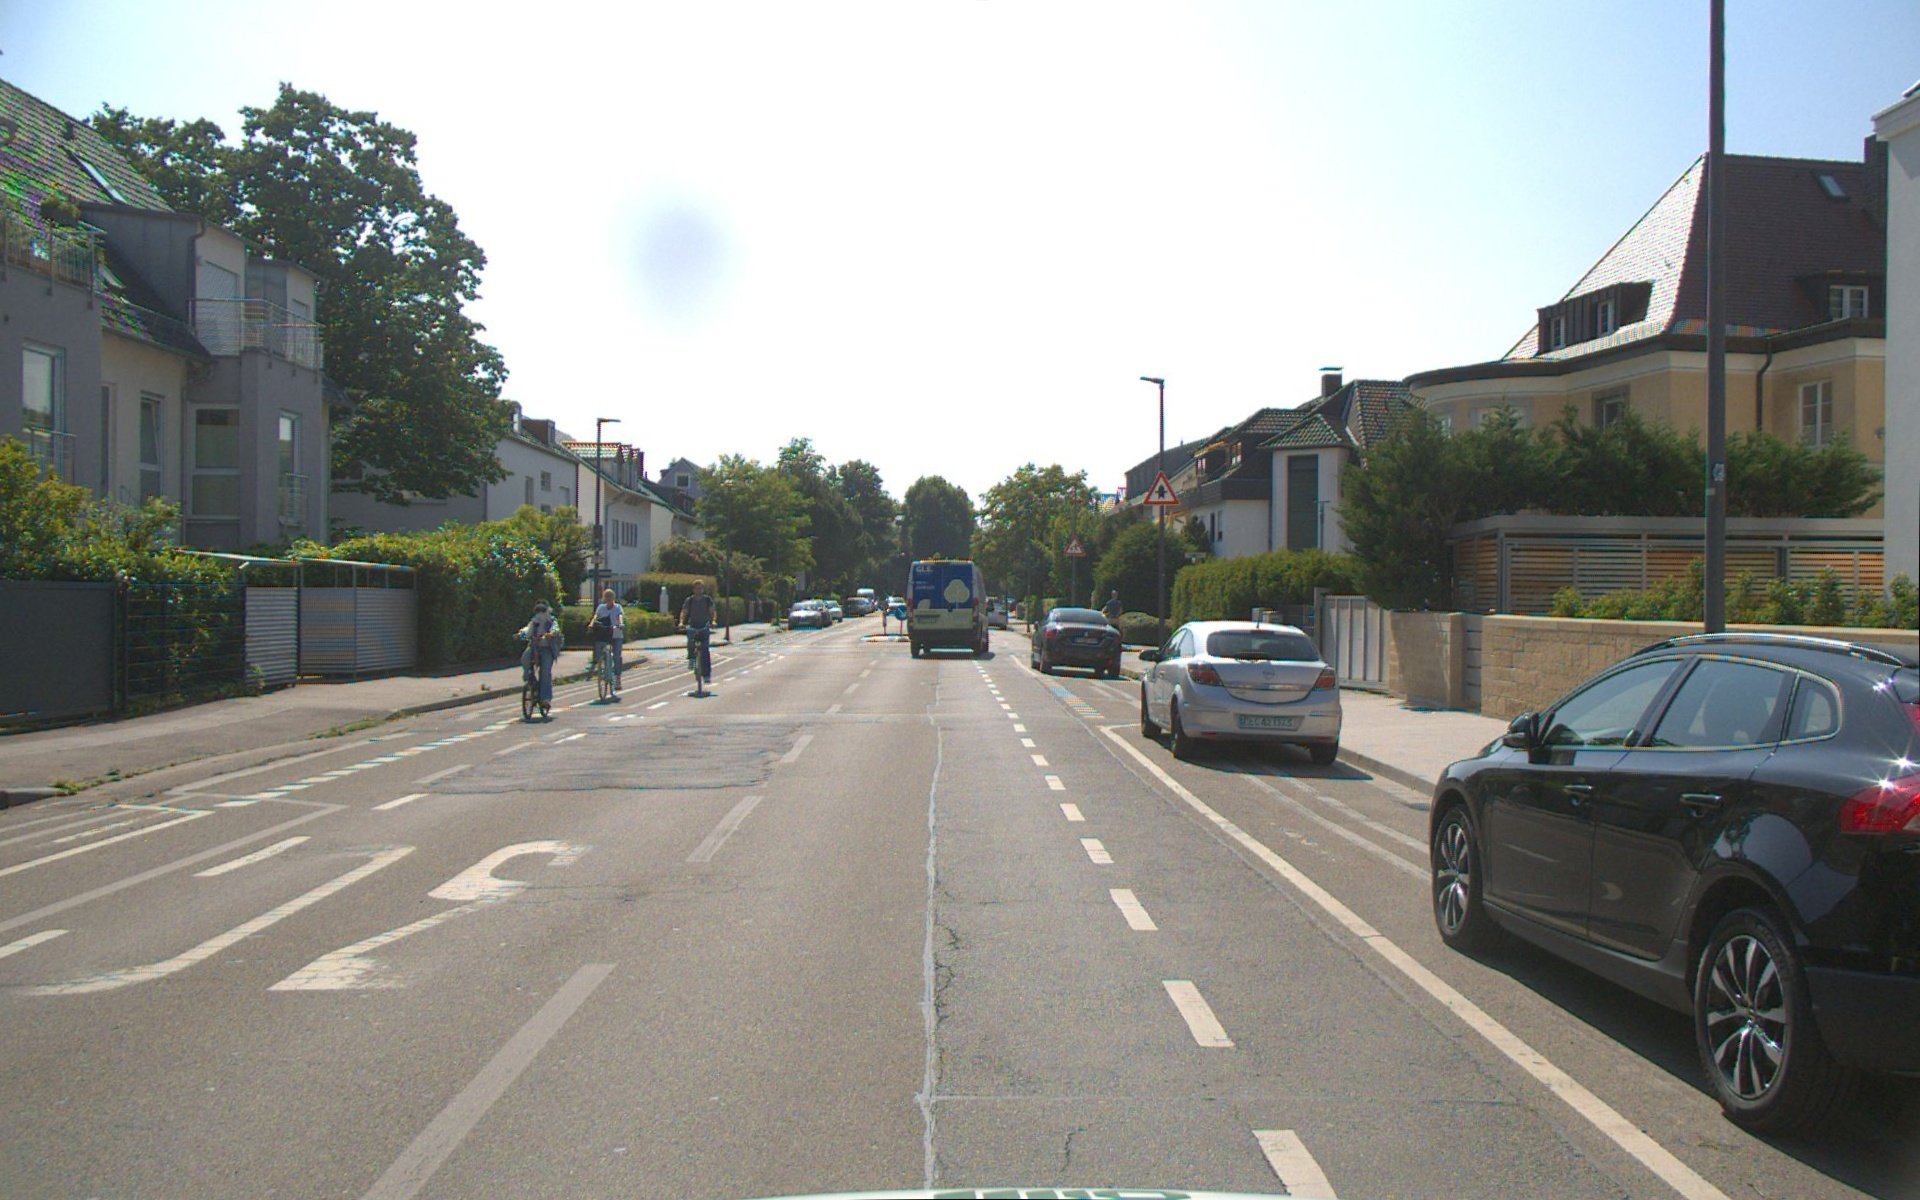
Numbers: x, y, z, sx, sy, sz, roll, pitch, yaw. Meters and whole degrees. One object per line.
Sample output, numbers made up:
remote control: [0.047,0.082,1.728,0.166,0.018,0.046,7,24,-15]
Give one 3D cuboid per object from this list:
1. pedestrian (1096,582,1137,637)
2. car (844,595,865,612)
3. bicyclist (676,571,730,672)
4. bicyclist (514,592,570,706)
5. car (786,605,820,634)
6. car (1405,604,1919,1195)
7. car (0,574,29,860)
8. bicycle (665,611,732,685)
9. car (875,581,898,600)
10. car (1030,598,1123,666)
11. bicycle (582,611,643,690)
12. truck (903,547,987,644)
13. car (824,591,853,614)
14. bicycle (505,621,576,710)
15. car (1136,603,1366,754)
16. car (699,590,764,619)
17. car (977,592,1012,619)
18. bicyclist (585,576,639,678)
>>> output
pedestrian: [5.441,0.327,57.531,0.891,1.905,1.175,1,-1,-34]
car: [-9.305,0.310,146.730,1.745,1.485,4.084,-1,0,-2]
bicyclist: [-4.428,0.367,28.575,0.734,1.697,1.021,-2,-1,-1]
bicyclist: [-5.616,0.646,22.252,0.480,1.479,0.964,-1,-1,-1]
car: [-8.389,1.018,88.639,1.750,1.465,4.151,-1,0,-4]
car: [3.192,0.809,6.244,1.688,1.474,4.166,4,0,-2]
car: [-6.395,0.707,7.509,1.813,1.639,4.447,-2,0,-1]
bicycle: [-4.450,0.790,28.303,0.766,1.186,2.419,-2,0,-1]
car: [-6.713,-0.846,151.858,1.876,1.696,4.505,-1,0,0]
car: [2.564,0.678,37.291,1.701,1.352,4.259,2,0,-1]
bicycle: [-5.585,0.797,26.699,0.548,1.206,2.035,-2,0,-1]
truck: [-0.368,-0.110,47.301,2.225,2.616,4.392,1,0,1]
car: [-8.216,0.150,112.089,1.749,1.465,3.999,-1,0,-2]
bicycle: [-5.609,0.859,22.181,0.588,1.124,1.346,-2,0,-1]
car: [3.049,0.804,18.128,1.701,1.352,4.075,4,-1,0]
car: [-14.710,0.269,106.738,3.906,1.790,2.000,1,0,-1]
car: [1.895,0.287,92.297,1.705,1.427,4.072,2,0,-2]
bicyclist: [-5.650,0.439,26.871,0.662,1.608,0.859,-2,-1,-1]
